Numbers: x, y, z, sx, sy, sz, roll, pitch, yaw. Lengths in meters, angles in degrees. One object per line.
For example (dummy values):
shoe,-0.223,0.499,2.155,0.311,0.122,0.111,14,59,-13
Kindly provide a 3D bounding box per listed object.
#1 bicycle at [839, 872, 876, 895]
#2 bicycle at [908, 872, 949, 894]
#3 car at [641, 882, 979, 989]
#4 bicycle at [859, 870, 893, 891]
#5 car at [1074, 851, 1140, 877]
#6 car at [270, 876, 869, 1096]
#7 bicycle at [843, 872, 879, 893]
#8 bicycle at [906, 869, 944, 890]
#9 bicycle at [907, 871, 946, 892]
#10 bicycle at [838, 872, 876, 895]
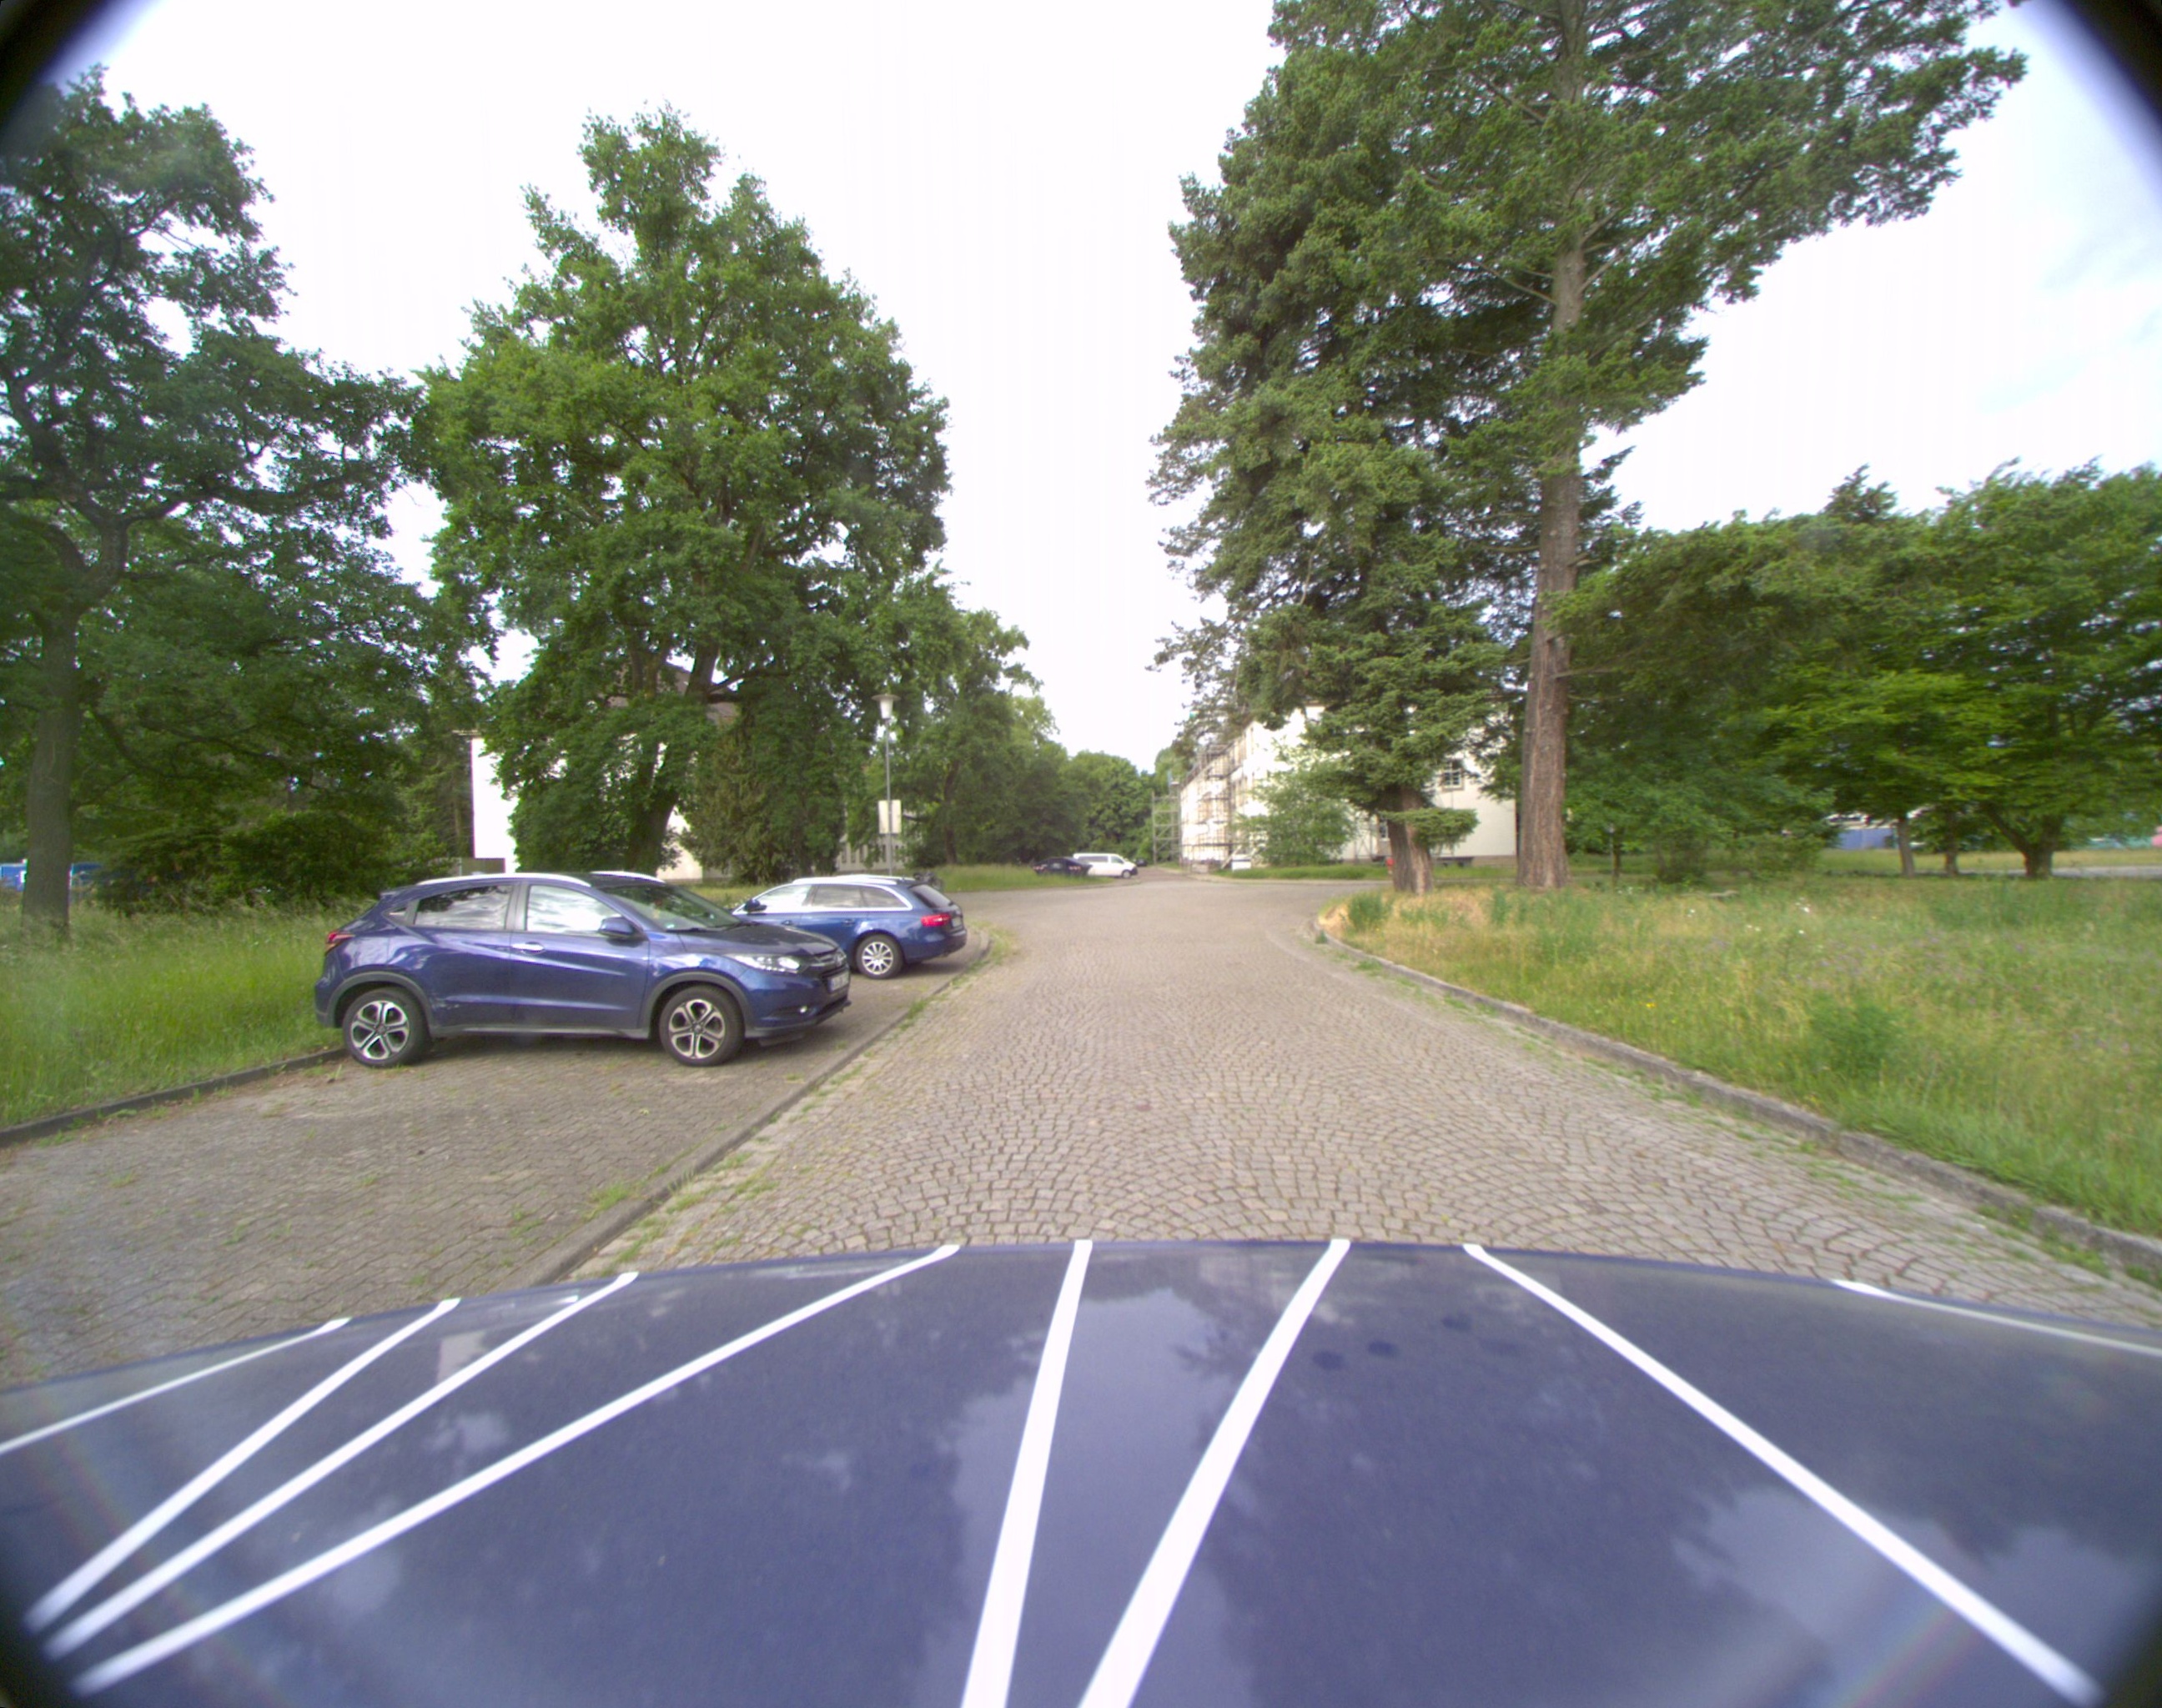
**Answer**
bicycle,-12.152,1.588,41.270,1.859,1.116,0.621,-3,1,-21
bicycle,-8.075,1.521,40.288,1.976,1.070,0.587,-3,1,-25
car,-3.963,1.176,11.556,4.479,1.413,1.785,-1,0,5
bicycle,-12.164,1.570,45.152,1.859,1.116,0.621,-3,1,-21
car,2.069,0.788,60.230,5.100,2.007,2.055,-1,0,1
car,-4.289,1.076,6.865,4.172,1.562,1.793,-2,1,2
bicycle,-12.449,1.598,42.941,1.859,1.116,0.621,-3,1,-21
bicycle,-9.034,1.473,44.010,2.031,1.070,0.621,-3,1,-21
bicycle,-8.533,1.504,41.886,1.976,1.070,0.587,-3,1,-25
bicycle,-11.973,1.581,40.653,1.859,1.116,0.621,-3,1,-21
